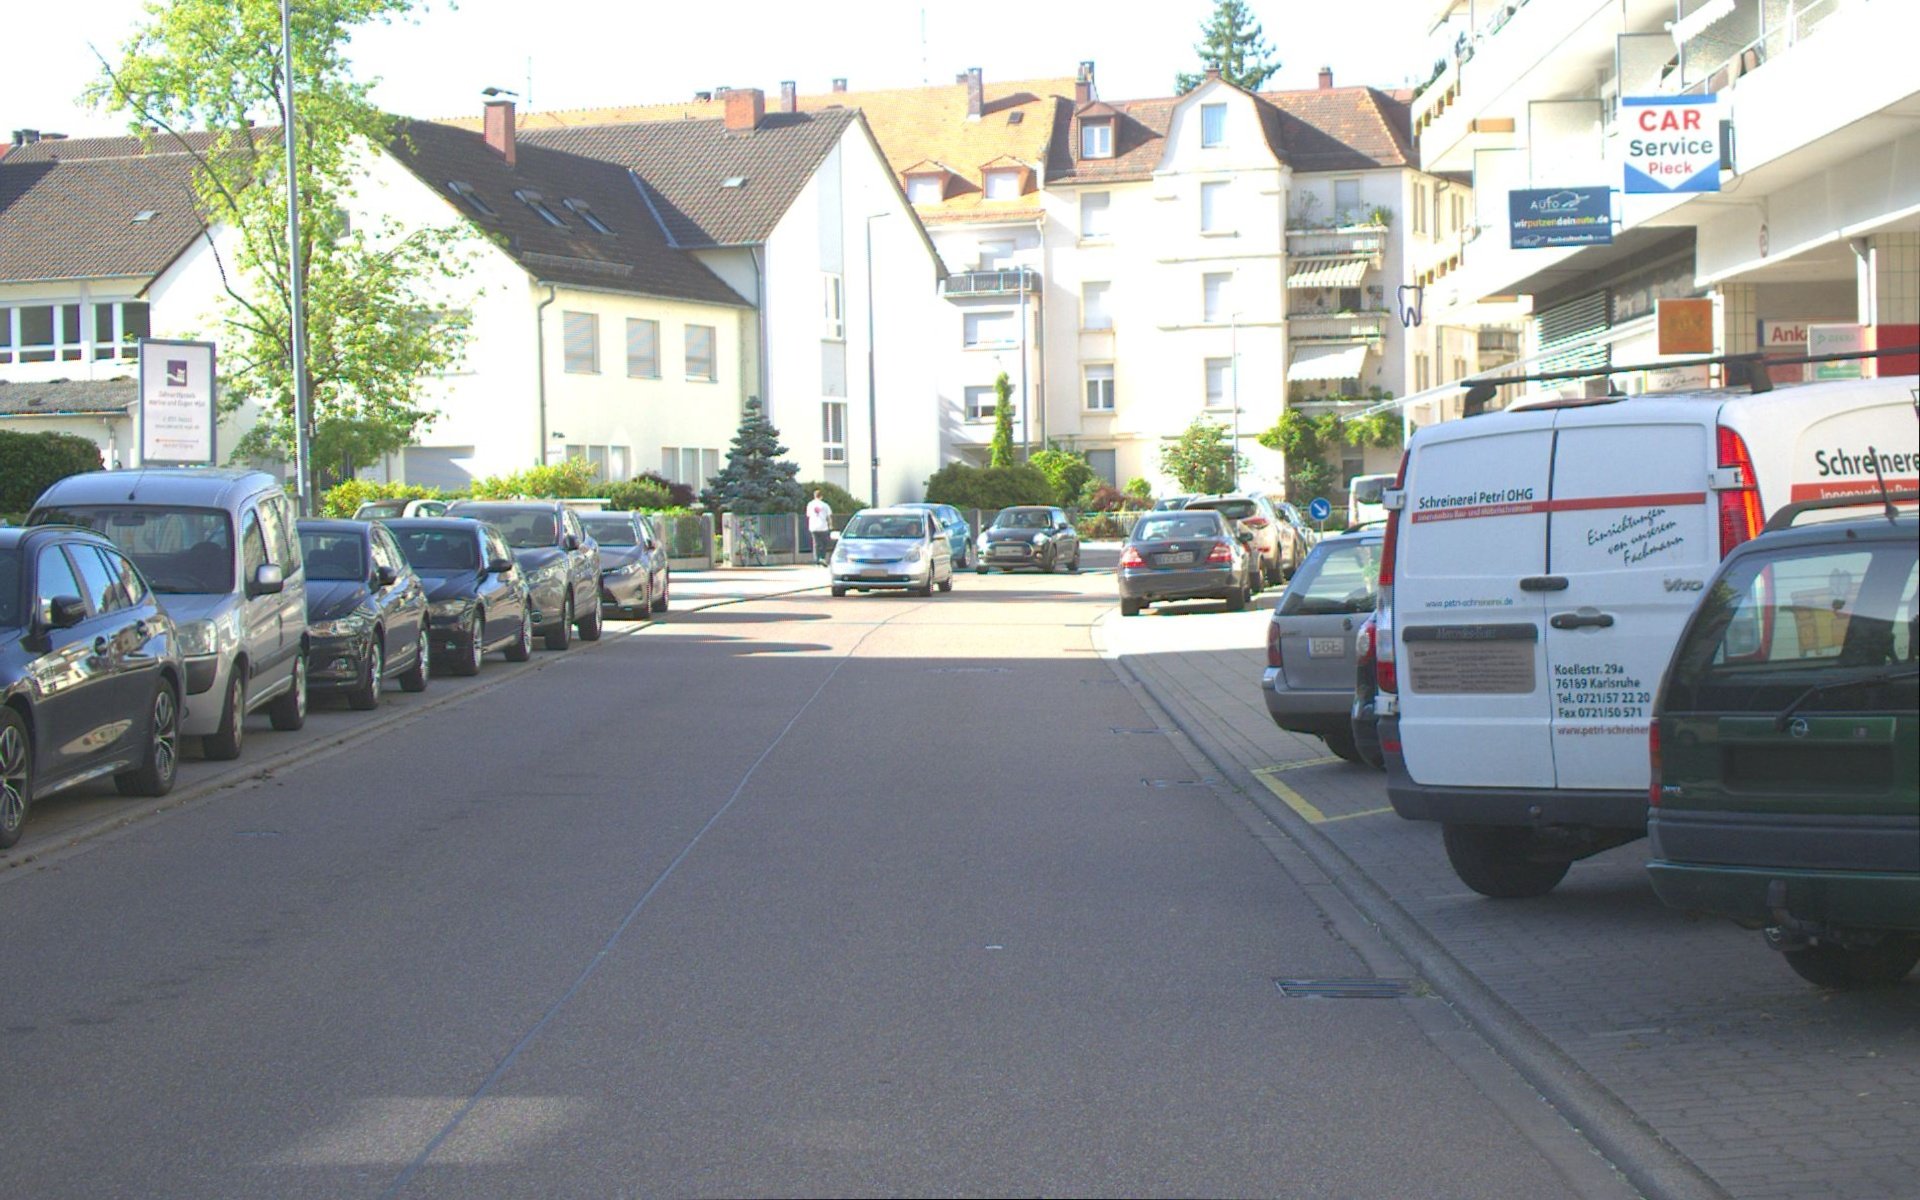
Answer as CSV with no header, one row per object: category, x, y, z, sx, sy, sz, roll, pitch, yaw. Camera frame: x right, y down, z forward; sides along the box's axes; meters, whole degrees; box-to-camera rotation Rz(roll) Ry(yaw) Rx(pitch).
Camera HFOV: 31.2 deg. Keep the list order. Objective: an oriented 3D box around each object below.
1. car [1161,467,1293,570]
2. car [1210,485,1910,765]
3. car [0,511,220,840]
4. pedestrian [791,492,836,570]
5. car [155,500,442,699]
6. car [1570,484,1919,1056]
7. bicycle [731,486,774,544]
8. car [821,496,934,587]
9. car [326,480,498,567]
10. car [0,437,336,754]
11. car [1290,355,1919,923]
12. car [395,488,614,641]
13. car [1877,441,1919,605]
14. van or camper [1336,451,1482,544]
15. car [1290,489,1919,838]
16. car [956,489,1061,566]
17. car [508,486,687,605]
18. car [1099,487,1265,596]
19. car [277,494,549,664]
car,4.735,-1.394,60.439,1.818,1.648,4.558,-1,-1,11
car,3.776,0.100,21.085,4.634,1.461,1.690,-3,1,-42
car,-5.064,0.308,16.836,1.732,1.434,4.612,-1,2,2
pedestrian,-3.246,-1.513,76.095,0.683,1.697,0.823,-1,-1,22
car,-5.112,-0.059,26.992,1.598,1.435,4.001,0,2,-2
car,3.939,0.322,10.323,3.984,1.484,1.616,-5,1,-31
bicycle,-4.674,-1.913,77.601,0.456,1.246,1.927,-1,-1,12
car,-1.392,-1.047,59.573,1.726,1.480,4.106,-1,2,2
car,-10.475,-1.450,65.864,1.802,1.550,3.184,-1,-1,24
car,-5.213,-0.099,22.211,1.687,1.832,4.342,-1,2,-2
car,3.692,0.044,13.751,4.517,1.891,2.049,-4,1,-40
car,-5.010,-0.444,38.325,1.720,1.580,4.421,-1,2,2
car,11.004,-0.793,31.947,4.391,1.507,1.979,-2,1,0
van or camper,10.268,-2.360,78.313,2.023,1.940,4.698,-3,1,23
car,3.758,0.232,17.403,4.316,1.507,1.755,-3,1,-45
car,1.048,-1.506,72.607,1.740,1.507,3.729,-1,0,8
car,-5.016,-0.807,48.138,1.993,1.529,4.919,-1,2,0
car,3.227,-0.844,49.090,1.971,1.445,5.002,-1,1,8
car,-5.067,-0.252,32.417,1.726,1.460,4.439,-1,2,2
